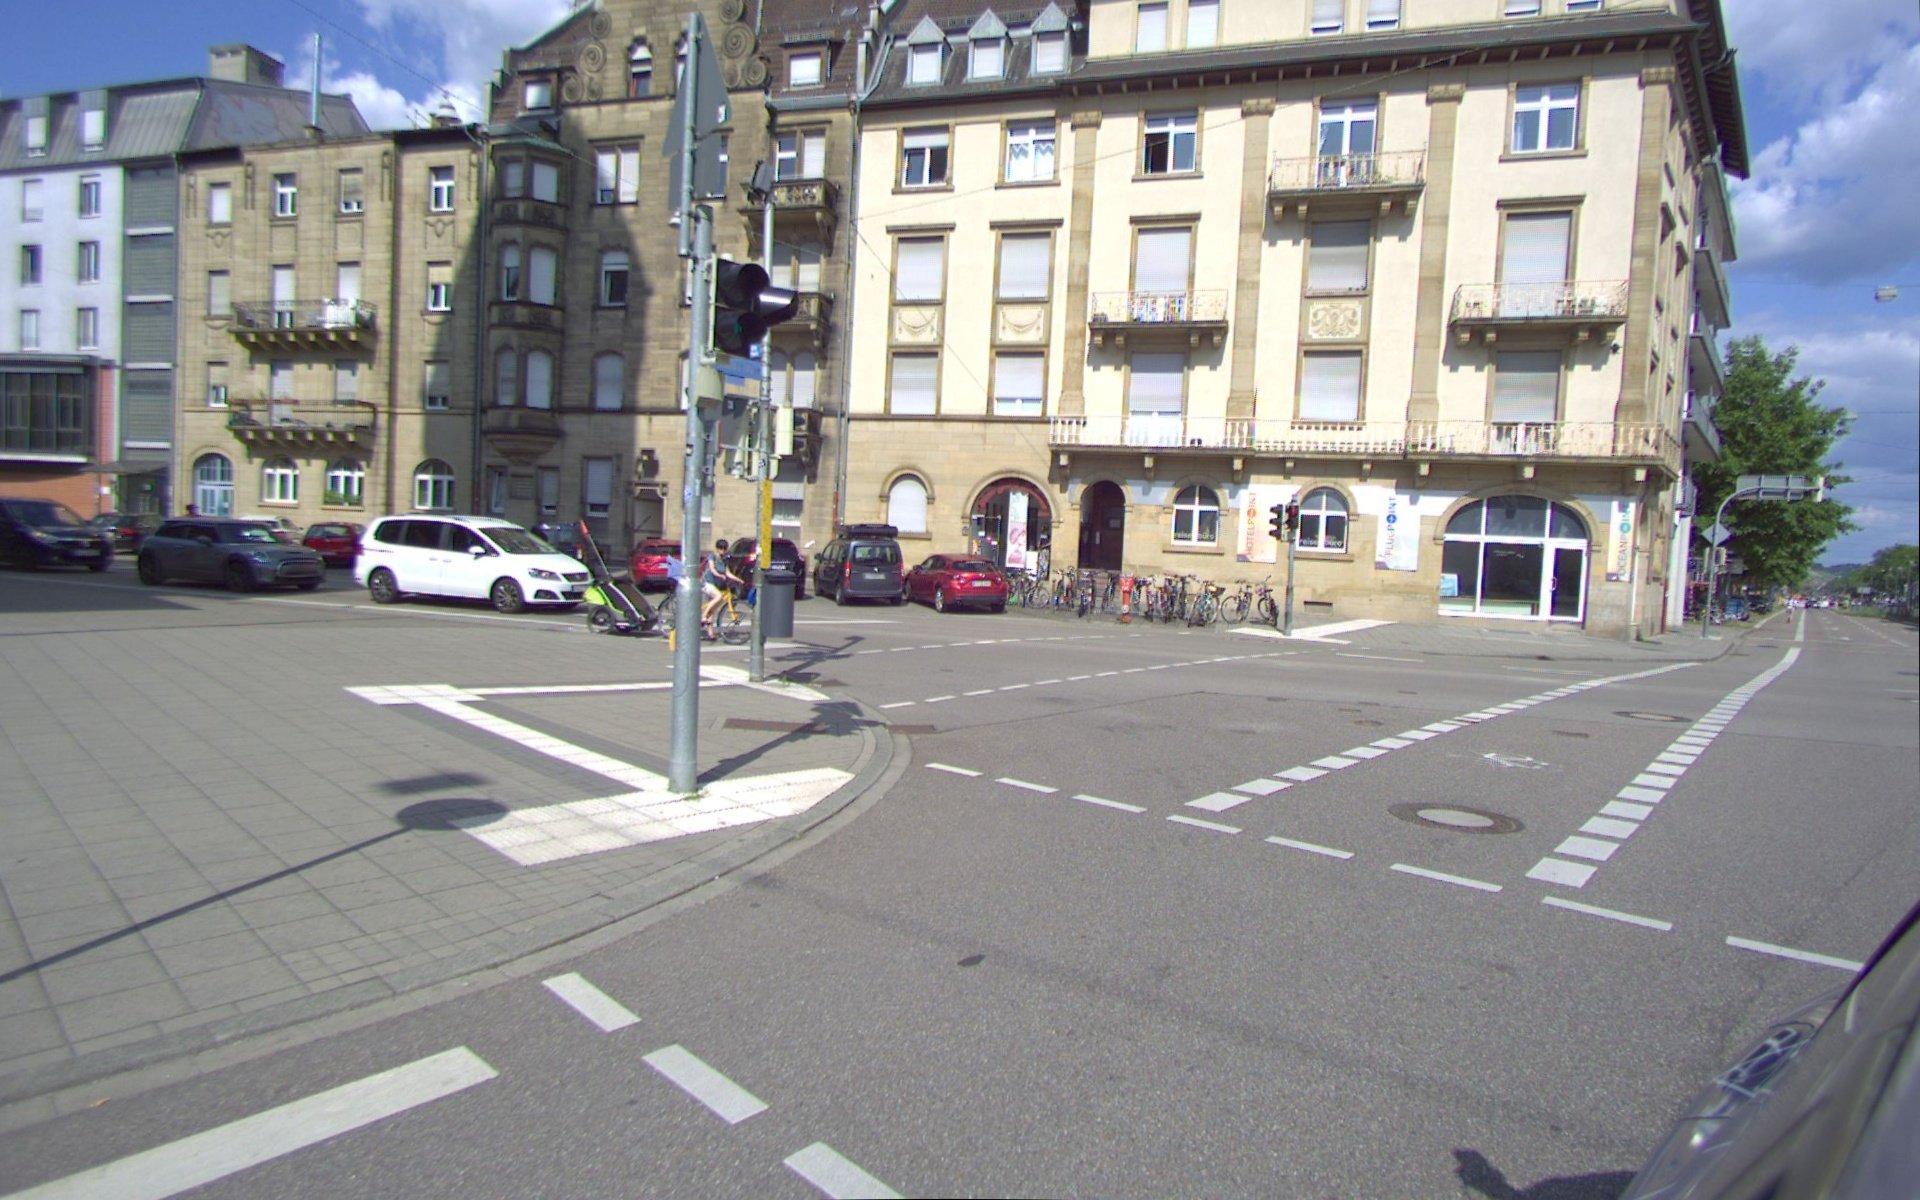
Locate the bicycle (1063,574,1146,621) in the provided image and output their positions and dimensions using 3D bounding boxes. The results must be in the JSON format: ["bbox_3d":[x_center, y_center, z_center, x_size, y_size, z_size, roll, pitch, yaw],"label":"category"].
[{"bbox_3d":[3.483,-0.059,24.456,1.892,1.030,0.541,2,5,0],"label":"bicycle"}]

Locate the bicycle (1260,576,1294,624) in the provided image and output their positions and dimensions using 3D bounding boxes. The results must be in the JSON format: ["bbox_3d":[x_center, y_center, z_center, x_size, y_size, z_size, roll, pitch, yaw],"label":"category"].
[{"bbox_3d":[8.038,-0.022,25.735,0.601,1.030,1.871,3,5,12],"label":"bicycle"}]

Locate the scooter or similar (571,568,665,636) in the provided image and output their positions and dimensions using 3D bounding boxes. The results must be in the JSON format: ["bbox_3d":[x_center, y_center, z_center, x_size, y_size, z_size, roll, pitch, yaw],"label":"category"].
[{"bbox_3d":[-5.422,0.011,16.088,1.114,0.989,0.888,3,2,12],"label":"scooter or similar"}]

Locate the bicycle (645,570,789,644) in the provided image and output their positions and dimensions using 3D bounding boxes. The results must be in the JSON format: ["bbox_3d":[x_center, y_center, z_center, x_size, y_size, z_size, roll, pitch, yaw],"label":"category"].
[{"bbox_3d":[-3.803,0.090,15.877,2.102,1.001,0.650,3,2,12],"label":"bicycle"}]

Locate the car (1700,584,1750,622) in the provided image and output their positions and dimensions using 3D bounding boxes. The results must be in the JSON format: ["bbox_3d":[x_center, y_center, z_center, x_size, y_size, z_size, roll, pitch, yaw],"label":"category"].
[{"bbox_3d":[41.560,0.141,54.922,1.846,1.810,3.943,8,5,39],"label":"car"}]

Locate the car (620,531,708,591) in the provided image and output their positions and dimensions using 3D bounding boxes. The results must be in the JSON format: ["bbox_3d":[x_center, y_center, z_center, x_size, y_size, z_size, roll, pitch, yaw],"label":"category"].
[{"bbox_3d":[-8.766,-1.186,29.759,1.877,1.461,4.011,0,6,-25],"label":"car"}]

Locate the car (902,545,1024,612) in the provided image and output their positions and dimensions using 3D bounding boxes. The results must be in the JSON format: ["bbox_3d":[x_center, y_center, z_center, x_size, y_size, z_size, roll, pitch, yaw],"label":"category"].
[{"bbox_3d":[-0.012,-0.617,26.876,1.927,1.458,4.012,1,5,-20],"label":"car"}]

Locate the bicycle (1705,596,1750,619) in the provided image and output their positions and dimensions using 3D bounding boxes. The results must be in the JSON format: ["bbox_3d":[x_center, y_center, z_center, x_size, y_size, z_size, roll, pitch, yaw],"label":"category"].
[{"bbox_3d":[37.141,0.338,48.985,1.687,0.998,0.490,5,3,39],"label":"bicycle"}]

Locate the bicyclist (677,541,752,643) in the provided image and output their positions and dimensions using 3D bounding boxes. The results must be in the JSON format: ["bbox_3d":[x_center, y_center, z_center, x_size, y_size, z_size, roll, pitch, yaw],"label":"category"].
[{"bbox_3d":[-3.848,-0.137,15.887,0.908,1.522,0.650,3,2,12],"label":"bicyclist"}]

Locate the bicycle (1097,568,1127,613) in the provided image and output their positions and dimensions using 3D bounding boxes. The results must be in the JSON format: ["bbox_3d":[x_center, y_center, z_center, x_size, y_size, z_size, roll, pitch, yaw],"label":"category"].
[{"bbox_3d":[4.071,-0.274,27.070,0.532,1.030,1.921,3,5,15],"label":"bicycle"}]

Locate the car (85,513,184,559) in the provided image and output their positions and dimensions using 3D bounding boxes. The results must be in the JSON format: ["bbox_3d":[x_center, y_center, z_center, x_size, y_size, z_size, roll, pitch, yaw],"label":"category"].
[{"bbox_3d":[-28.628,-2.250,35.212,1.572,1.413,3.584,0,5,-20],"label":"car"}]

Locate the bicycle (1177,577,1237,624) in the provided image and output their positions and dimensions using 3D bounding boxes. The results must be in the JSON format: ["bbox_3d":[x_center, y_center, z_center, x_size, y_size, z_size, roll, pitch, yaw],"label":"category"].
[{"bbox_3d":[6.098,-0.004,24.970,0.600,1.030,1.849,6,6,41],"label":"bicycle"}]

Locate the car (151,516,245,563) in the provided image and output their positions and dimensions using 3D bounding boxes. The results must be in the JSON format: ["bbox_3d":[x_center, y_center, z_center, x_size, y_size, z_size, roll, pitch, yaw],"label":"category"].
[{"bbox_3d":[-26.070,-2.097,34.745,1.572,1.413,3.584,0,5,-20],"label":"car"}]

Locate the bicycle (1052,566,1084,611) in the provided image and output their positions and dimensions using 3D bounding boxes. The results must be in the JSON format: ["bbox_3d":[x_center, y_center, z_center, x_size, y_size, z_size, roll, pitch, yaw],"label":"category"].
[{"bbox_3d":[2.909,-0.326,27.098,0.532,1.030,1.921,3,5,15],"label":"bicycle"}]

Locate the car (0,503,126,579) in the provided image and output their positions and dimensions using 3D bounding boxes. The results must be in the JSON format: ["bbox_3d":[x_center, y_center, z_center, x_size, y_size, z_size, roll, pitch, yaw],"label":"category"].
[{"bbox_3d":[-21.848,-1.423,23.610,4.015,1.616,1.695,3,3,15],"label":"car"}]

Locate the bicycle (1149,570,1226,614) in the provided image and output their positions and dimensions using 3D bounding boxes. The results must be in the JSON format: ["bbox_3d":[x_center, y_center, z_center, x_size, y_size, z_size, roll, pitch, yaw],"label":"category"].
[{"bbox_3d":[6.078,-0.223,27.044,1.905,1.030,0.537,4,5,20],"label":"bicycle"}]

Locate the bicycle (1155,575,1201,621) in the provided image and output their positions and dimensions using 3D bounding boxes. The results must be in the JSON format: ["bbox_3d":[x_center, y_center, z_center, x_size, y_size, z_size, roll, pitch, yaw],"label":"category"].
[{"bbox_3d":[5.509,-0.076,25.481,0.536,1.030,1.909,4,5,29],"label":"bicycle"}]

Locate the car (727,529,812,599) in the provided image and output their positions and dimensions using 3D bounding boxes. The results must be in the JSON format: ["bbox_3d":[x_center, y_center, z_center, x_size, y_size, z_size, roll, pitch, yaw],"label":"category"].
[{"bbox_3d":[-5.466,-1.076,28.681,1.675,1.687,4.013,0,5,-20],"label":"car"}]

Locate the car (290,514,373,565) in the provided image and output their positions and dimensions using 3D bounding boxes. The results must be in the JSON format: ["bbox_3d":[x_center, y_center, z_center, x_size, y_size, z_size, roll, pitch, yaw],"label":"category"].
[{"bbox_3d":[-20.449,-2.022,33.059,1.572,1.472,3.788,0,5,-20],"label":"car"}]

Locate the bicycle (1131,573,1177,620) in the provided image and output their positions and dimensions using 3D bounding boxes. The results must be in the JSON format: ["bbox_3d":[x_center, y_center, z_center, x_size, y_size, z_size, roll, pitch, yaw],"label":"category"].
[{"bbox_3d":[4.919,-0.100,25.559,0.536,1.030,1.910,4,6,29],"label":"bicycle"}]

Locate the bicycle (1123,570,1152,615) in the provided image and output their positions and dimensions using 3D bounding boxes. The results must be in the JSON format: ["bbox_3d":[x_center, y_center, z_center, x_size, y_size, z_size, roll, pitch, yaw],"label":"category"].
[{"bbox_3d":[4.731,-0.217,26.905,0.532,1.030,1.921,3,5,15],"label":"bicycle"}]

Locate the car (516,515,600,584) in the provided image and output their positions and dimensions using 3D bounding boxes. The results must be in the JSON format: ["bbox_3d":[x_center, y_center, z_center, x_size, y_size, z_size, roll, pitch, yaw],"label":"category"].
[{"bbox_3d":[-12.104,-1.583,30.677,1.876,1.846,4.013,1,5,-15],"label":"car"}]

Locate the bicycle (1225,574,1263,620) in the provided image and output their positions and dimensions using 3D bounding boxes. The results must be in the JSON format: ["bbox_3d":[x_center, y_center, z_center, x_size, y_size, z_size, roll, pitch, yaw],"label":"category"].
[{"bbox_3d":[7.316,-0.090,26.024,0.603,1.030,1.862,4,5,24],"label":"bicycle"}]

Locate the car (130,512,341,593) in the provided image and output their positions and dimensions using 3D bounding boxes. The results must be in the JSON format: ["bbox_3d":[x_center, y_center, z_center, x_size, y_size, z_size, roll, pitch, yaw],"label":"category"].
[{"bbox_3d":[-15.171,-1.013,21.239,3.684,1.468,1.667,3,3,15],"label":"car"}]

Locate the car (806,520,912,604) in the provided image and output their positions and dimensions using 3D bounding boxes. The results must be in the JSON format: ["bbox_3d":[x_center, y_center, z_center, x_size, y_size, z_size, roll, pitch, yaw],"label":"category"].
[{"bbox_3d":[-2.870,-1.121,28.022,1.927,2.107,4.012,0,4,-20],"label":"car"}]

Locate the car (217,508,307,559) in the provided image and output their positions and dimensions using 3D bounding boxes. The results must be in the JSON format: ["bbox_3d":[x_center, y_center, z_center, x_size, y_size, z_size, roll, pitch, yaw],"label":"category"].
[{"bbox_3d":[-23.196,-2.241,33.749,1.572,1.517,3.788,0,5,-20],"label":"car"}]

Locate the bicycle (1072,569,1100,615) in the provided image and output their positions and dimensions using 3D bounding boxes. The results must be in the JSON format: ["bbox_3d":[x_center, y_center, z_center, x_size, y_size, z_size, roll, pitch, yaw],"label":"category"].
[{"bbox_3d":[3.262,-0.231,26.071,0.532,1.030,1.924,3,5,11],"label":"bicycle"}]

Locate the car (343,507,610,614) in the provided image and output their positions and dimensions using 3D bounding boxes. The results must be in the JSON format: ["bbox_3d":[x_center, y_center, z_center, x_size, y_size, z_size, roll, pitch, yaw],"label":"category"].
[{"bbox_3d":[-9.336,-0.793,19.601,4.598,1.761,1.807,3,2,16],"label":"car"}]
